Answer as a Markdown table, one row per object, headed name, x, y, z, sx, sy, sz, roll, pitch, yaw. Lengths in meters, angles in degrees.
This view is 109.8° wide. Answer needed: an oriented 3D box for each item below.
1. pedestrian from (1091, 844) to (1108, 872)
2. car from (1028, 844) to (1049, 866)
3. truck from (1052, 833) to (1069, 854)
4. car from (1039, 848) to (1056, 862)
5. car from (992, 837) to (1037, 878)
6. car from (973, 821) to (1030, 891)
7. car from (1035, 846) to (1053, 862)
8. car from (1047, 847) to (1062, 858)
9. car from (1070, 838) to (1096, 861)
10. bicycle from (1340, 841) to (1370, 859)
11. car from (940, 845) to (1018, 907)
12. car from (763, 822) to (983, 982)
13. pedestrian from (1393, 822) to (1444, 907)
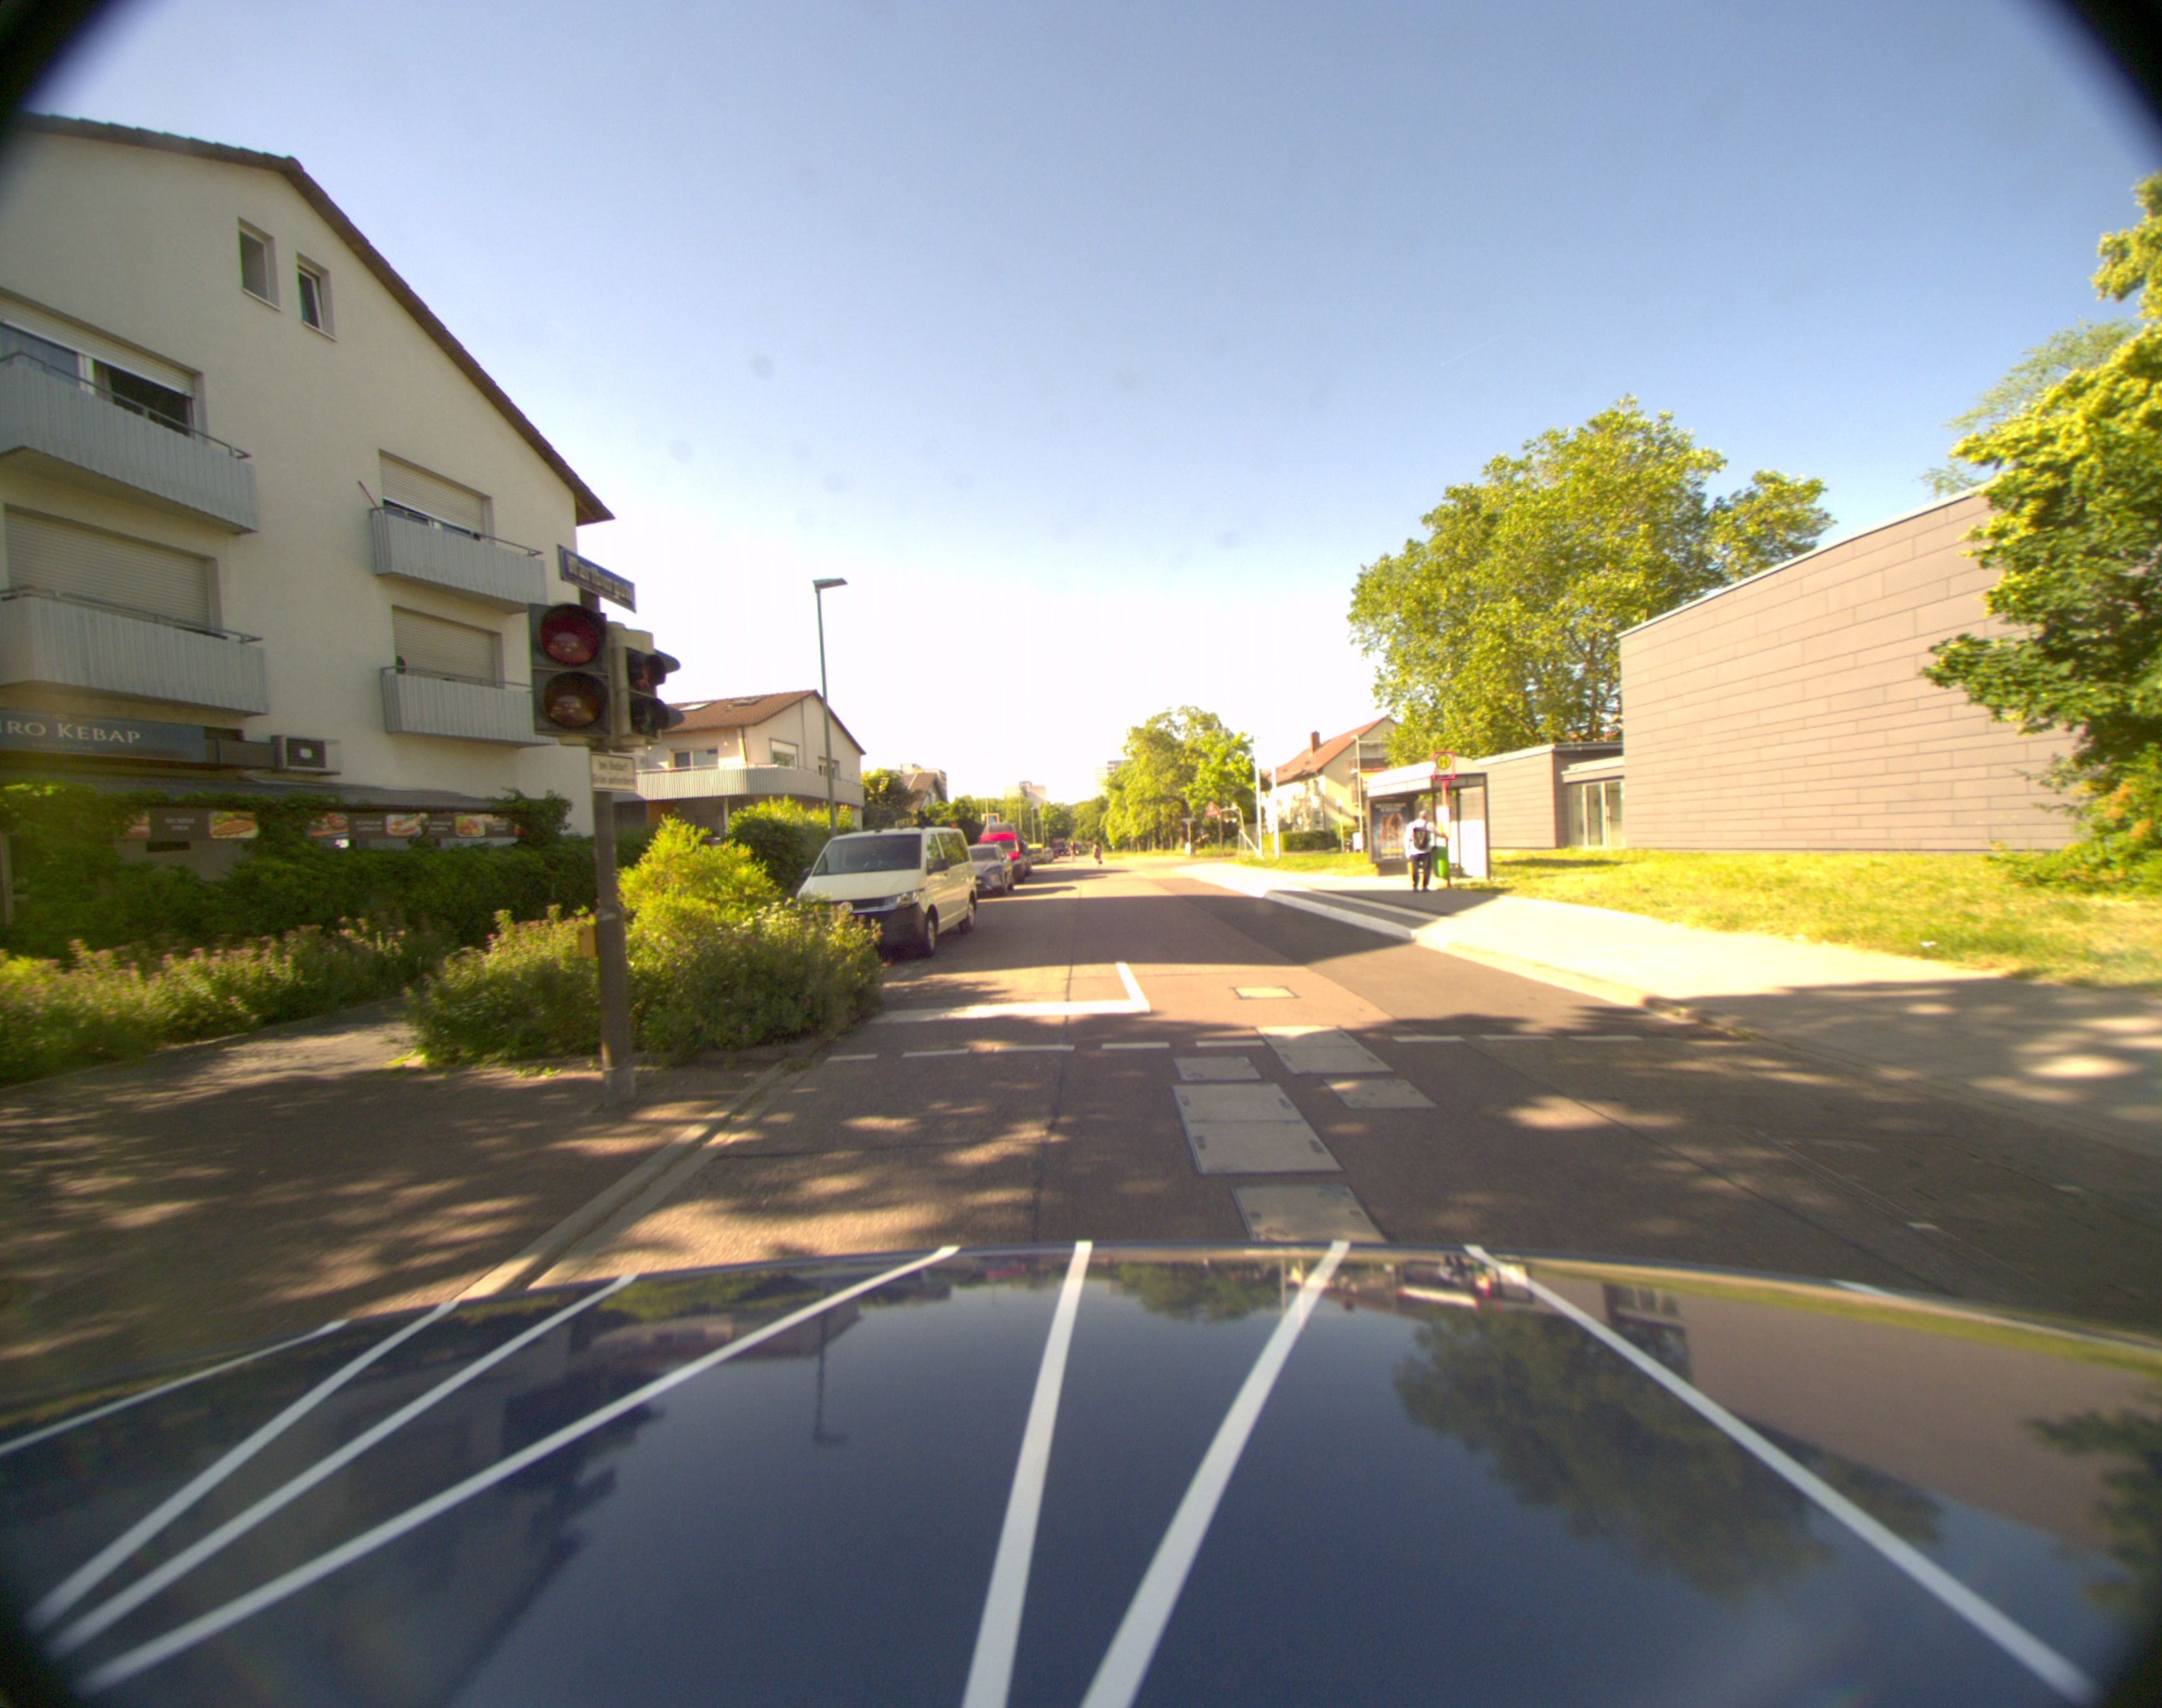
| name | x | y | z | sx | sy | sz | roll | pitch | yaw |
| --- | --- | --- | --- | --- | --- | --- | --- | --- | --- |
| pedestrian | 1.104 | 0.221 | 44.421 | 0.834 | 1.578 | 0.632 | 1 | 4 | 17 |
| car | -3.664 | 0.040 | 65.986 | 1.621 | 1.766 | 3.980 | -3 | 1 | -1 |
| truck | -4.663 | -2.449 | 176.458 | 3.602 | 4.544 | 10.022 | -3 | 1 | 0 |
| car | -4.169 | 0.063 | 94.953 | 1.999 | 1.587 | 4.577 | -3 | 0 | -1 |
| car | -3.384 | 0.149 | 39.357 | 1.862 | 1.837 | 4.559 | -5 | 1 | -1 |
| car | -3.286 | 0.052 | 32.302 | 1.962 | 2.629 | 5.221 | -4 | 1 | -3 |
| car | -3.717 | -0.012 | 77.623 | 1.621 | 1.478 | 3.980 | -3 | 1 | -1 |
| car | -4.172 | -0.281 | 121.738 | 1.998 | 1.587 | 4.577 | -3 | 1 | 2 |
| car | 0.117 | -0.404 | 69.616 | 1.966 | 1.908 | 4.575 | -3 | 2 | -4 |
| bicycle | 16.643 | -0.256 | 46.148 | 1.598 | 0.979 | 0.500 | -3 | 0 | 15 |
| car | -3.276 | 0.646 | 25.360 | 1.962 | 1.728 | 4.575 | -4 | 1 | -1 |
| car | -3.098 | 0.590 | 12.531 | 1.998 | 2.067 | 4.577 | -3 | 2 | 3 |
| pedestrian | 7.429 | 0.236 | 16.718 | 0.716 | 1.792 | 0.772 | -4 | 1 | 40 |
